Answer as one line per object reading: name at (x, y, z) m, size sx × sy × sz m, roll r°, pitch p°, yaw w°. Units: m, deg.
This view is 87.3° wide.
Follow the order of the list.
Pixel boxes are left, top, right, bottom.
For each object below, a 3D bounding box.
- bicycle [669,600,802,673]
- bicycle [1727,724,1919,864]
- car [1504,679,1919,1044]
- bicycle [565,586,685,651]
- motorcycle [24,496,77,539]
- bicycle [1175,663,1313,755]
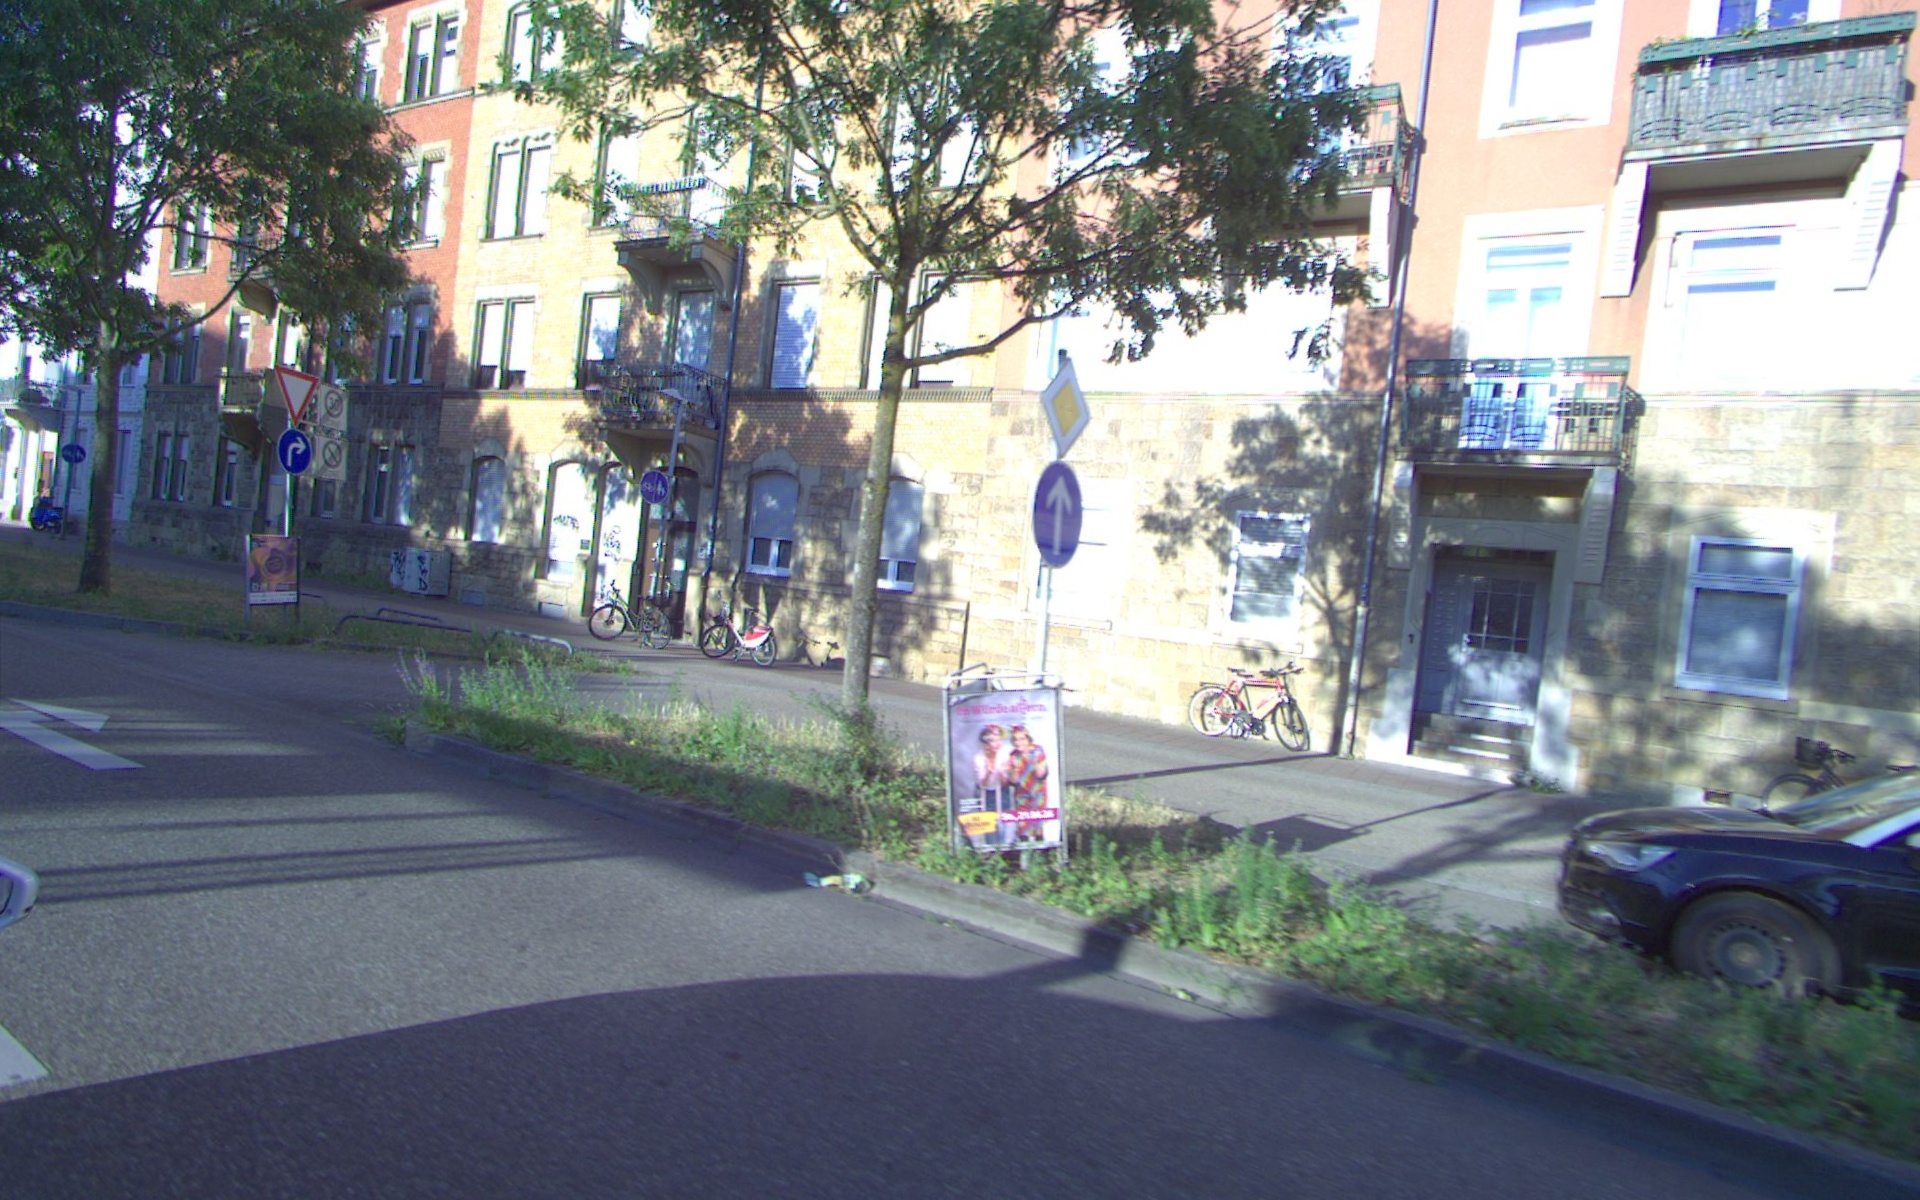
bicycle at (-3.839, 0.601, 17.081) m, size 2.301 × 0.960 × 0.734 m, roll 7°, pitch 2°, yaw 33°
bicycle at (9.680, 2.121, 11.136) m, size 1.716 × 1.182 × 0.483 m, roll 7°, pitch 6°, yaw 30°
car at (5.312, 1.481, 5.230) m, size 4.216 × 1.464 × 1.709 m, roll 7°, pitch -3°, yaw 30°
bicycle at (-6.073, 0.327, 18.205) m, size 2.050 × 0.928 × 0.872 m, roll 7°, pitch 2°, yaw 31°
motorcycle at (-30.253, -2.761, 33.443) m, size 2.037 × 1.228 × 0.555 m, roll 7°, pitch -1°, yaw 28°
bicycle at (4.024, 1.526, 14.301) m, size 1.716 × 1.018 × 0.484 m, roll 7°, pitch 0°, yaw 30°
